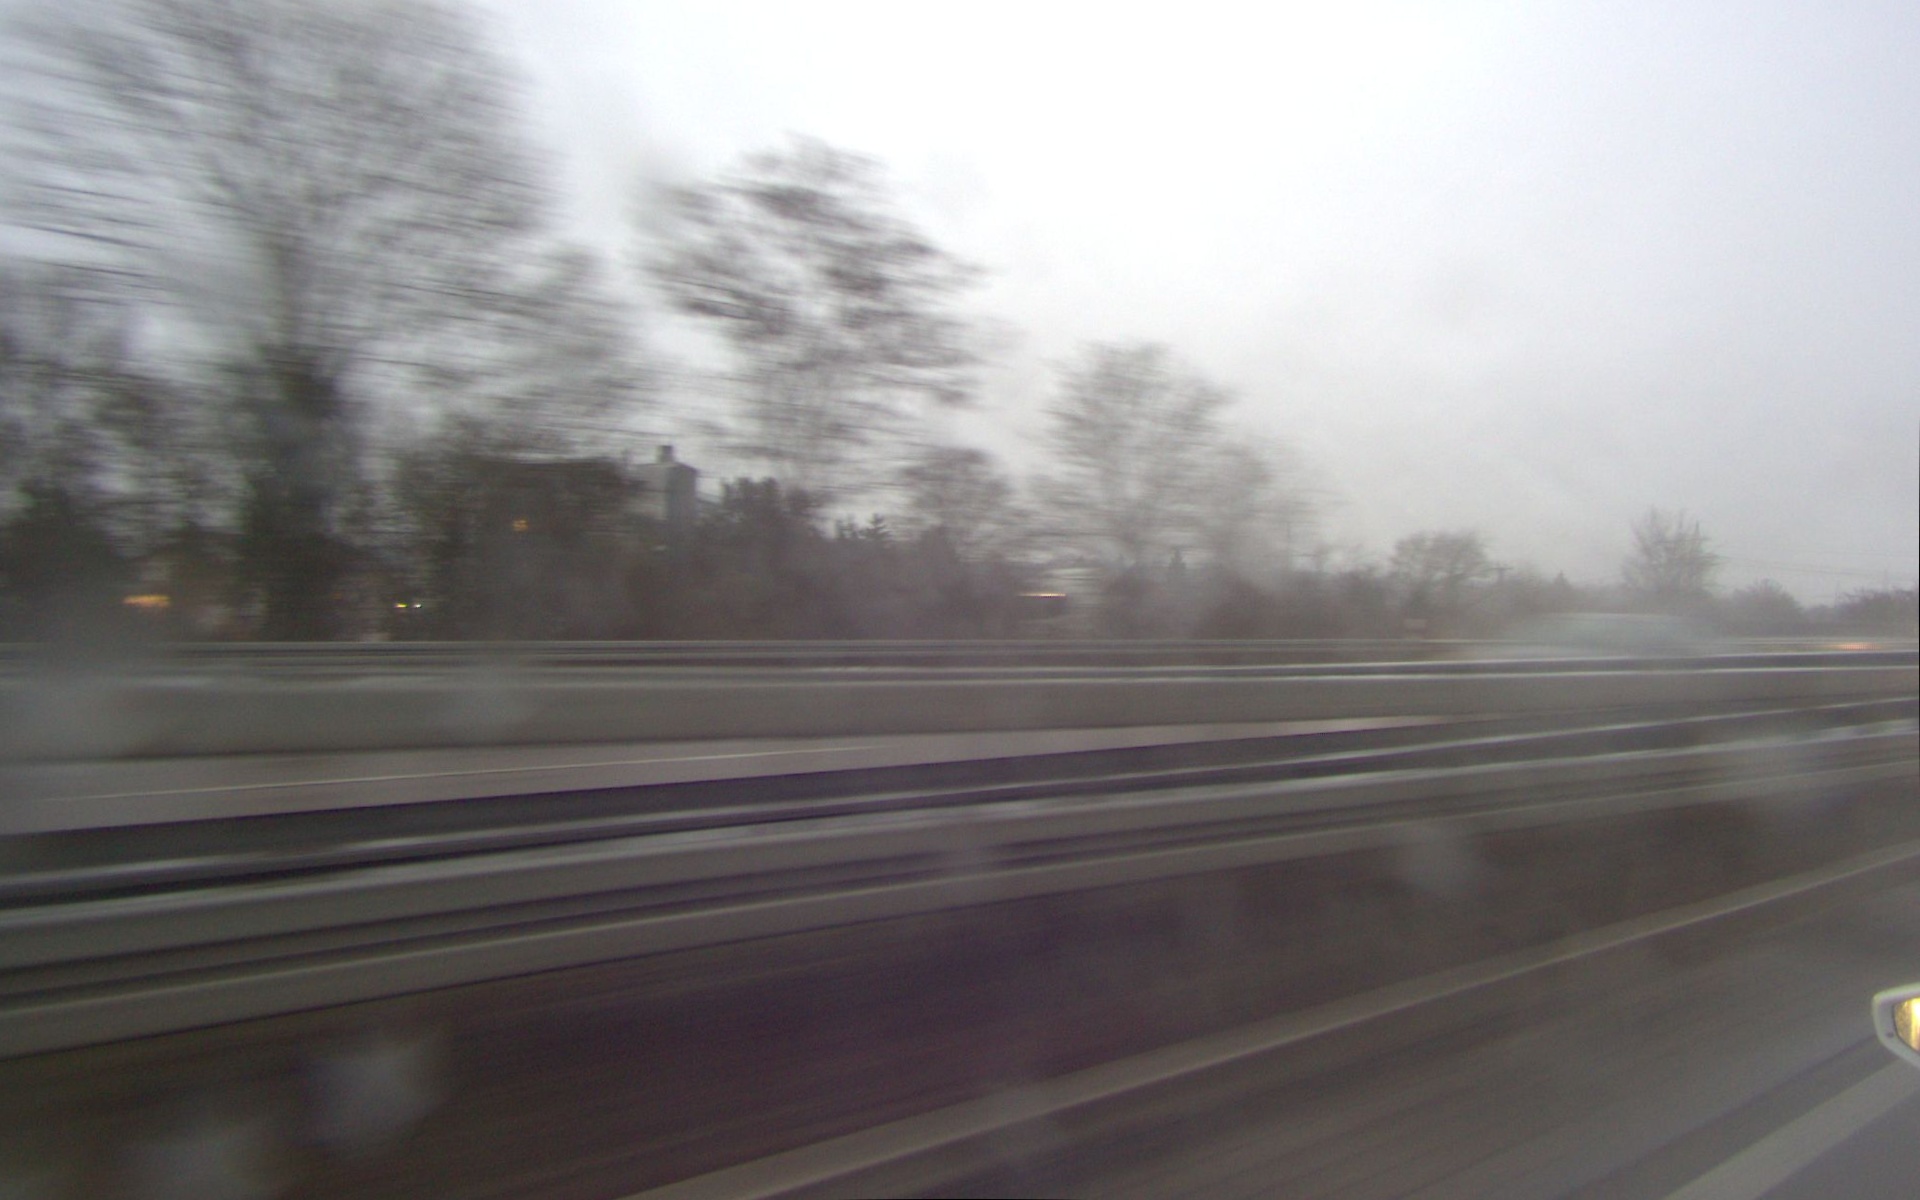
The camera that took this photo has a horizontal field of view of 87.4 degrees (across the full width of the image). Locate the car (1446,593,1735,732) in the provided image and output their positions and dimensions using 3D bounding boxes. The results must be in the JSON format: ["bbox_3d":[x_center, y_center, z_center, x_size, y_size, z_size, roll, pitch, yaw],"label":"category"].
[{"bbox_3d":[8.907,0.816,14.139,3.952,1.662,1.732,1,2,-30],"label":"car"}]
